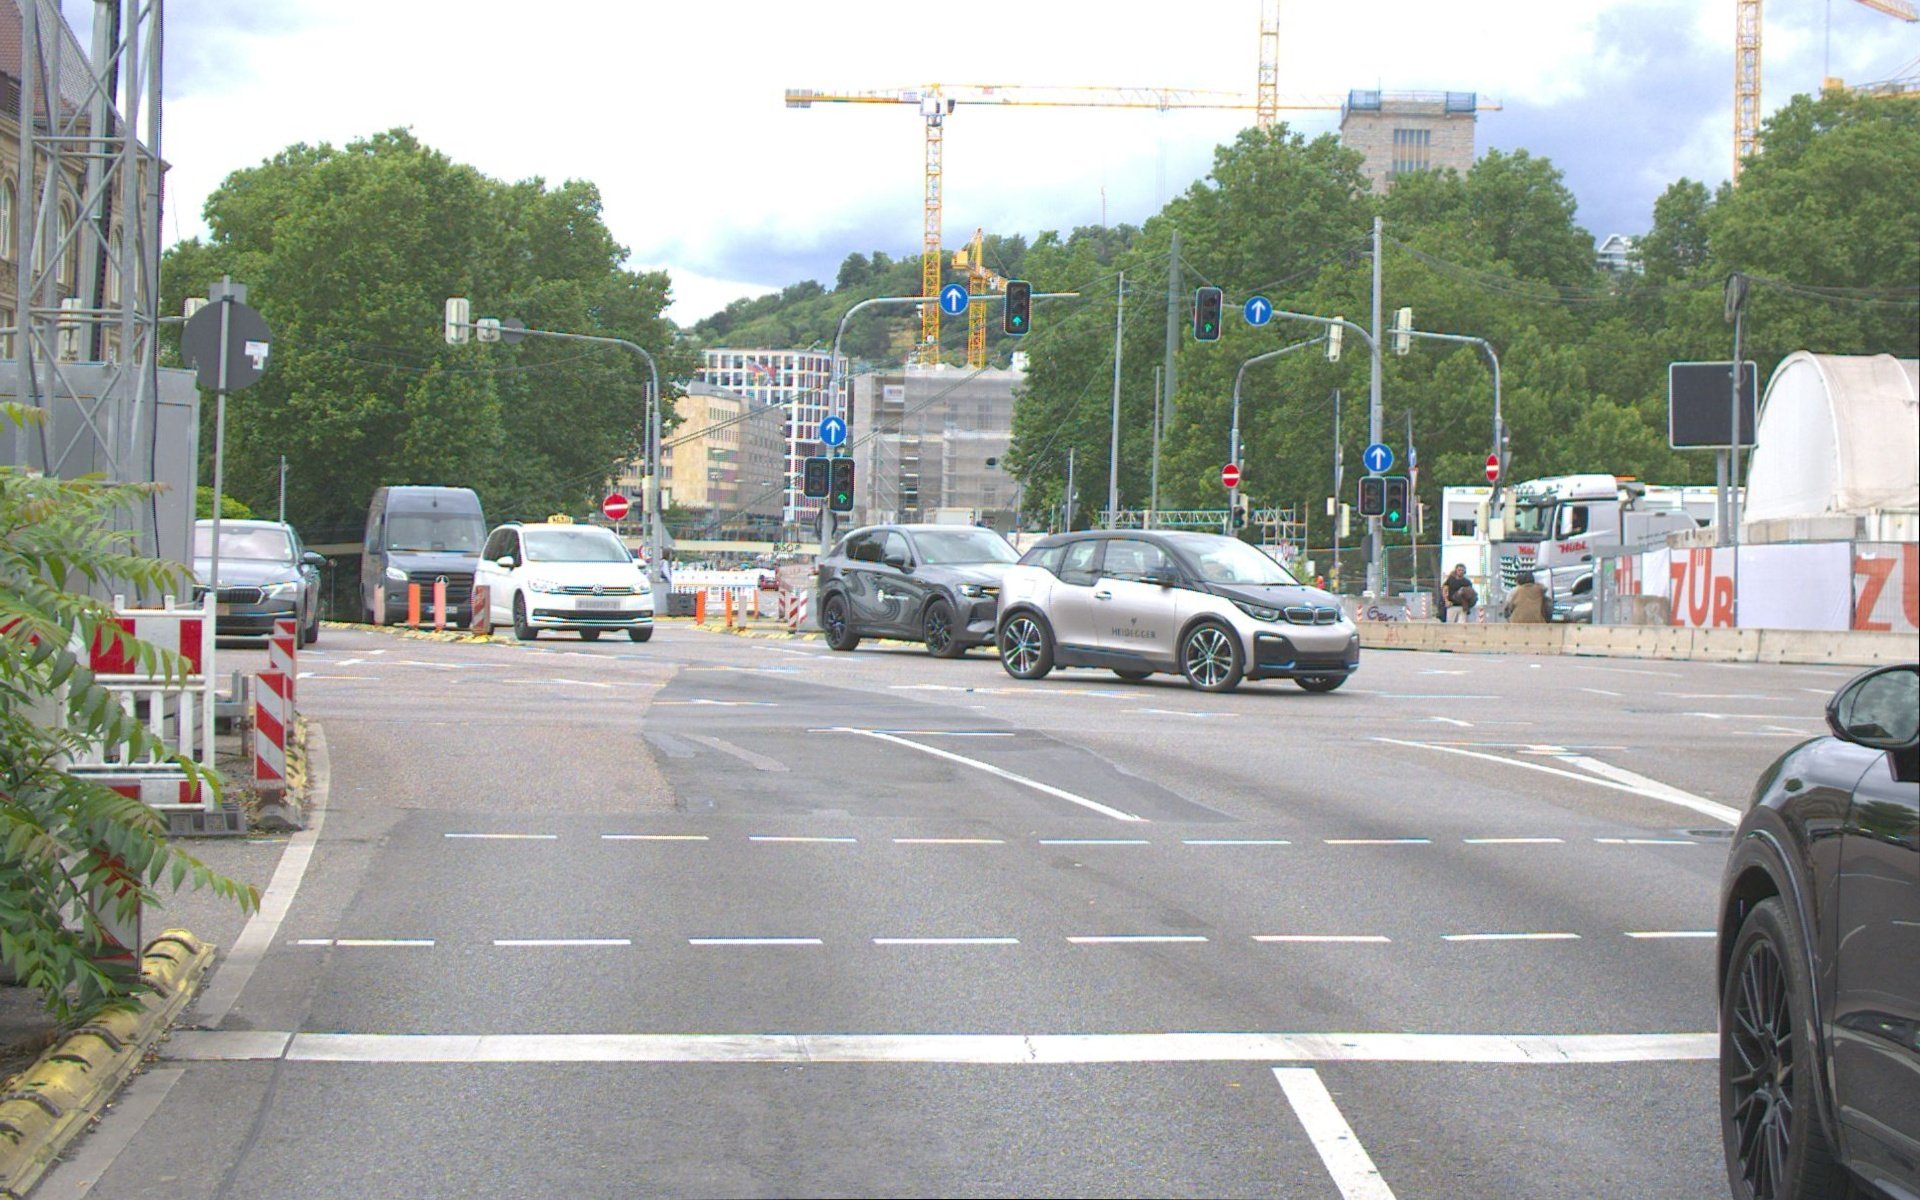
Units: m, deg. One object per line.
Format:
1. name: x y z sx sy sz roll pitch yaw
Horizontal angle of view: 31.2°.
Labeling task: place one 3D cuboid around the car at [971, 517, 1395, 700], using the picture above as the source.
1. car: 2.191 0.047 34.574 1.795 1.662 4.064 0 2 -44

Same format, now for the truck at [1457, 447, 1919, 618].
1. truck: 19.509 -1.681 88.227 13.022 4.027 3.952 1 1 -21

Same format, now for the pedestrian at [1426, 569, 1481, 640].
1. pedestrian: 9.833 0.079 68.512 0.796 1.373 0.905 1 1 -11

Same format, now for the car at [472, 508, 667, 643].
1. car: -5.446 -0.375 47.488 1.877 1.730 4.446 1 1 -17

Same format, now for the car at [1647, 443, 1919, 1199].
1. car: 2.616 0.602 5.637 1.955 1.680 4.635 2 1 -1

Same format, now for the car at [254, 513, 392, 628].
1. car: -10.084 -0.498 54.213 1.877 1.664 4.446 1 1 -14

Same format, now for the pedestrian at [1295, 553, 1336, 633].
1. pedestrian: 7.589 -0.152 73.367 0.729 1.683 0.678 2 1 -2

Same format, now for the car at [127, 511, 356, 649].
1. car: -8.270 -0.275 39.925 1.878 1.467 4.445 1 1 -3

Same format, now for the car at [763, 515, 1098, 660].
1. car: -0.436 -0.189 43.751 1.878 1.664 4.609 1 2 -36

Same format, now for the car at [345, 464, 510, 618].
1. car: -9.640 -1.087 61.854 2.056 2.585 6.016 1 1 -17
